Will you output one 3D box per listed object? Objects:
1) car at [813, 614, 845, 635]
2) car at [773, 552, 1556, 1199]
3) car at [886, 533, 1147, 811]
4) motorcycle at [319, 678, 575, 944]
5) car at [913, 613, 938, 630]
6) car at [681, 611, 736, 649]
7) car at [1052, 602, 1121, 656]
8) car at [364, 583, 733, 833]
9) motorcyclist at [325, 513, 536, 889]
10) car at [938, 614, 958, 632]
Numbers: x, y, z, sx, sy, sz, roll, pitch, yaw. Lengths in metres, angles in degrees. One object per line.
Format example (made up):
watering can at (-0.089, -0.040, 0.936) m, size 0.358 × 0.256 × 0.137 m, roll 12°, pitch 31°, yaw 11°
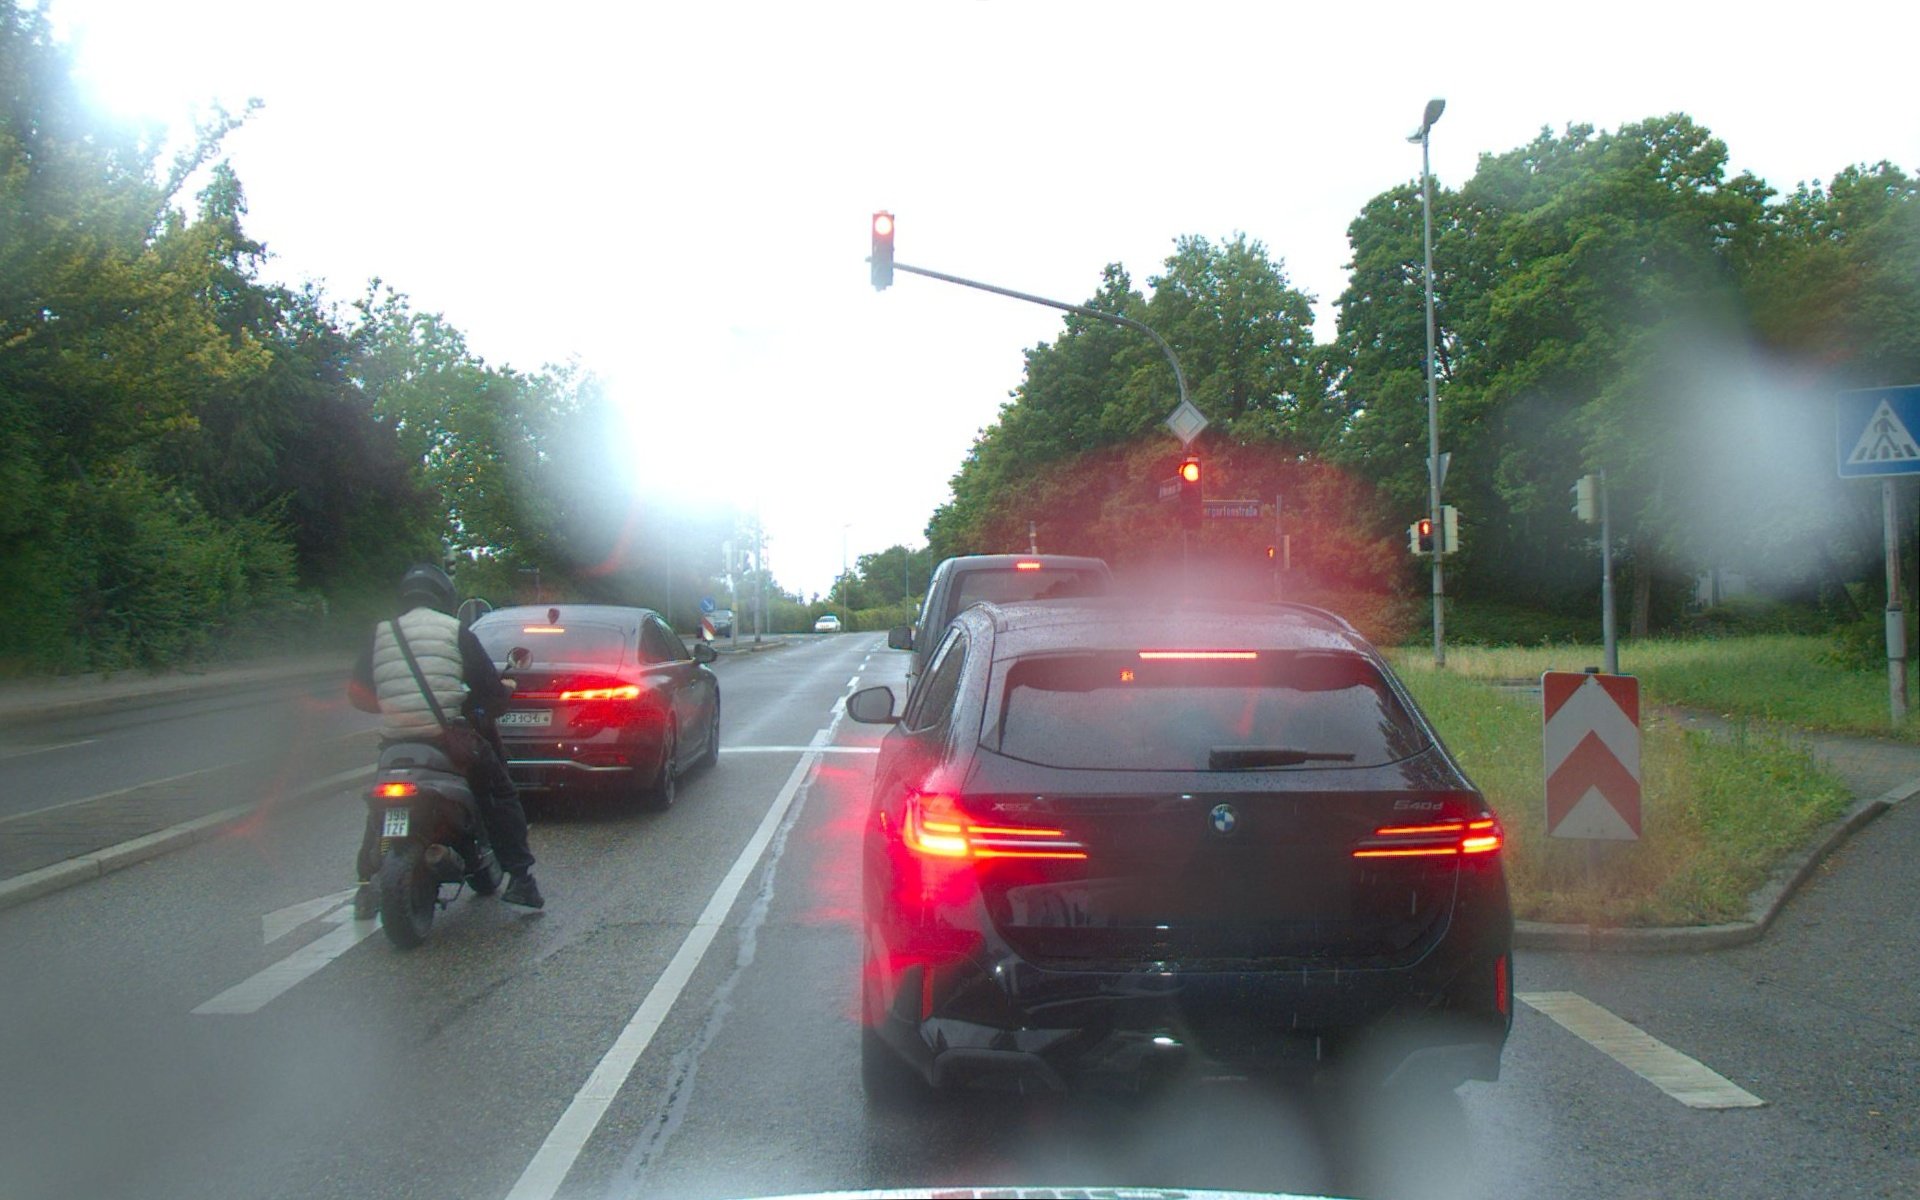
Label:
car at (-10.963, 2.049, 138.675) m, size 1.951 × 1.639 × 3.674 m, roll -2°, pitch -1°, yaw 6°
car at (0.594, 0.719, 6.268) m, size 1.858 × 1.578 × 4.616 m, roll 0°, pitch -1°, yaw 3°
car at (0.381, 0.509, 13.354) m, size 1.781 × 1.901 × 3.952 m, roll 0°, pitch 0°, yaw 0°
motorcycle at (-2.364, 0.930, 7.842) m, size 0.677 × 1.071 × 1.747 m, roll 1°, pitch -1°, yaw -1°
car at (-3.690, 2.309, 177.805) m, size 2.061 × 1.795 × 4.871 m, roll -2°, pitch -1°, yaw 6°
car at (-12.997, 1.549, 85.639) m, size 1.952 × 1.858 × 4.001 m, roll -2°, pitch -1°, yaw 3°
car at (3.967, 0.911, 52.470) m, size 1.835 × 1.569 × 3.952 m, roll -2°, pitch 0°, yaw 0°
car at (-2.989, 0.722, 13.003) m, size 1.954 × 1.554 × 4.325 m, roll -2°, pitch 0°, yaw -3°
motorcyclist at (-2.446, 0.455, 7.713) m, size 0.749 × 1.671 × 0.674 m, roll 0°, pitch -1°, yaw -2°
car at (-0.997, 1.912, 138.141) m, size 1.663 × 1.452 × 3.513 m, roll -2°, pitch 0°, yaw 0°
